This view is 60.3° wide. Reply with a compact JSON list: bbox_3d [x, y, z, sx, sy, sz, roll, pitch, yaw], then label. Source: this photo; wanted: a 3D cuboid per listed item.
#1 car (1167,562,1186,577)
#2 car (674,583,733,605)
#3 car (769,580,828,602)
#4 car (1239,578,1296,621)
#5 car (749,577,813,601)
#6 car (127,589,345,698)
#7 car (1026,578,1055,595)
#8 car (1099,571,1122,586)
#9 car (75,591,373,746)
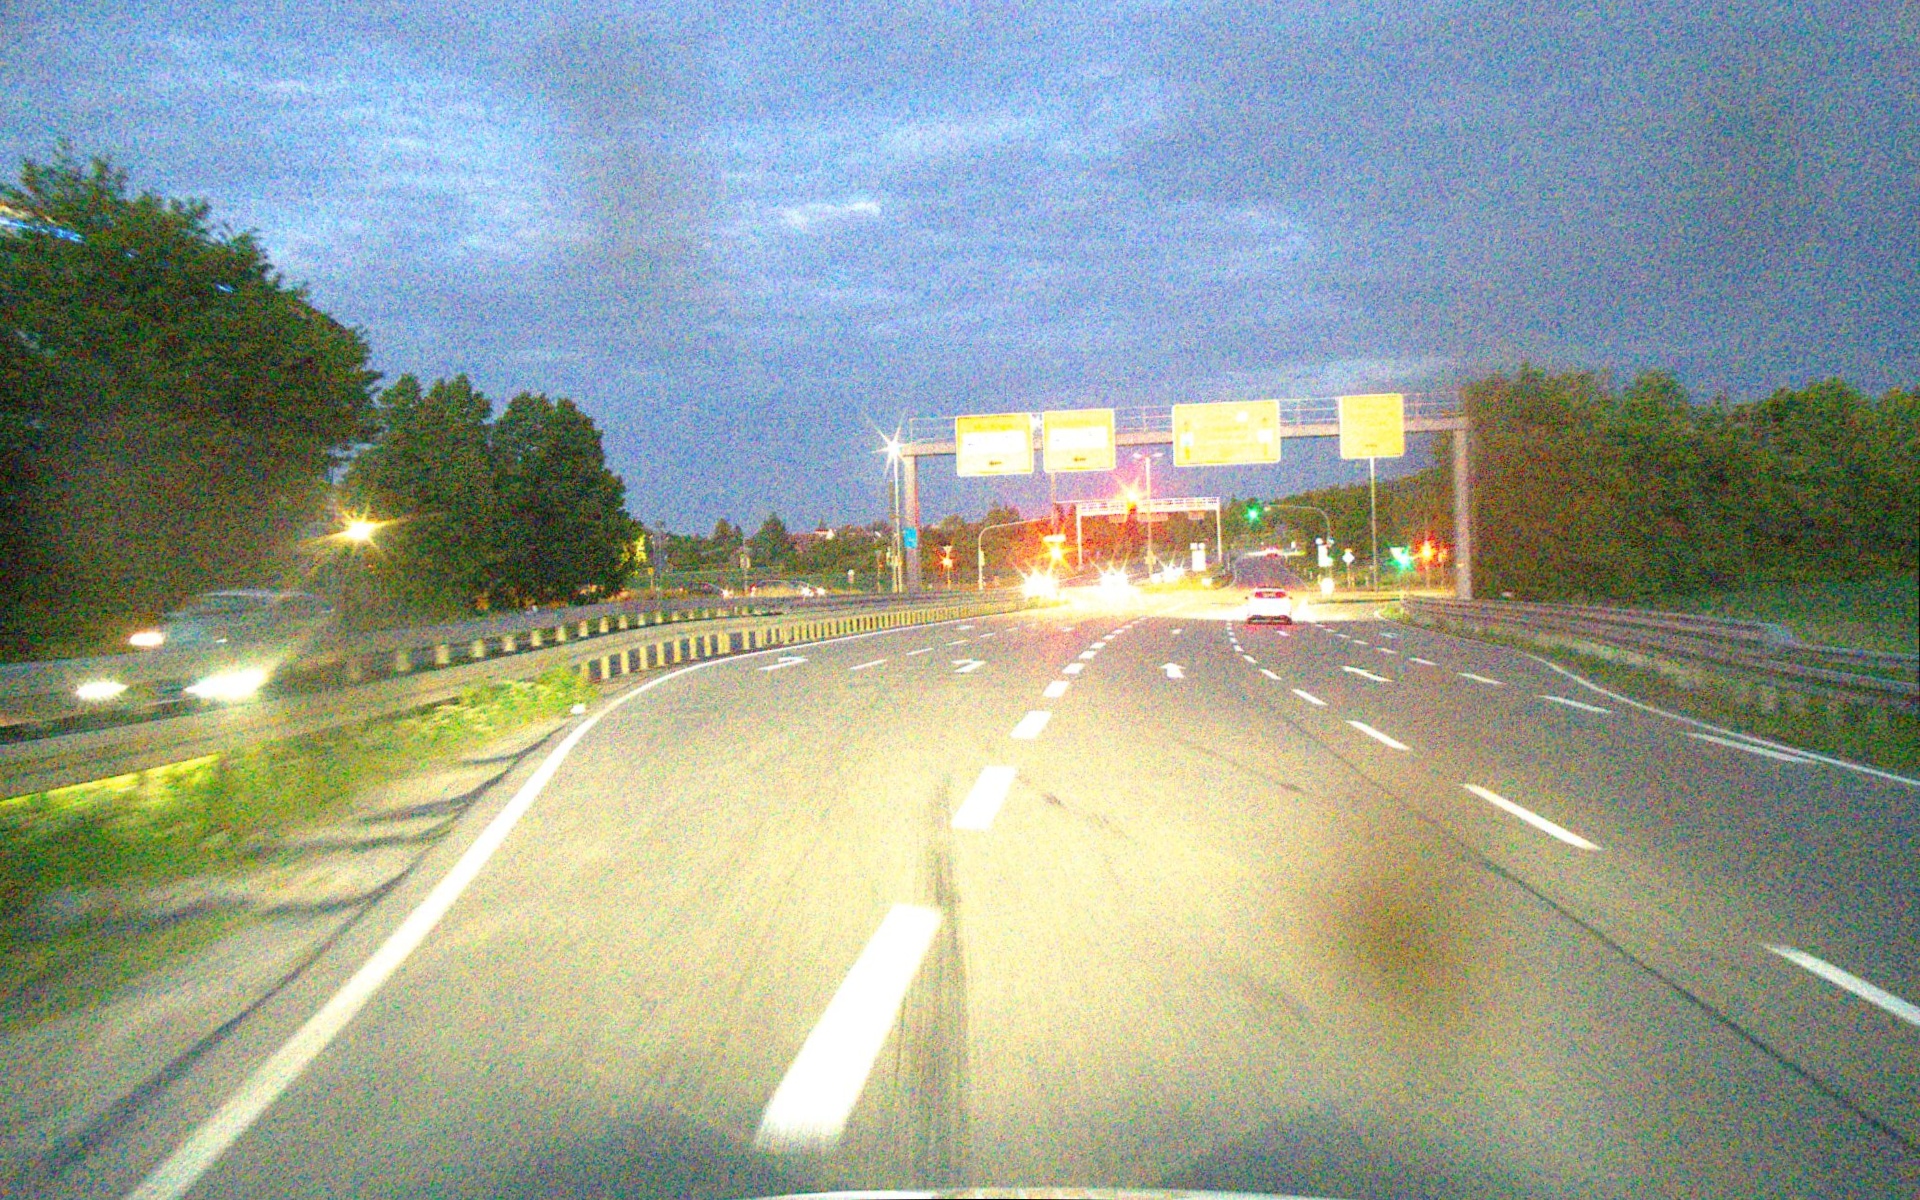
[{"bbox_3d":[25.997,-3.637,198.460,1.951,1.727,4.004,-1,1,11],"label":"car"},{"bbox_3d":[-18.579,-0.450,119.884,3.902,1.499,1.731,-1,0,6],"label":"car"},{"bbox_3d":[-11.928,-0.671,122.130,3.954,1.564,1.731,-1,0,9],"label":"car"},{"bbox_3d":[12.278,-0.038,65.946,1.965,1.639,3.848,1,0,14],"label":"car"},{"bbox_3d":[-12.757,-0.777,117.979,4.221,1.564,1.731,-1,0,11],"label":"car"},{"bbox_3d":[-11.976,0.655,27.680,1.666,1.651,4.308,-1,1,1],"label":"car"},{"bbox_3d":[7.163,-1.188,146.771,1.951,1.450,4.536,-1,1,11],"label":"car"},{"bbox_3d":[15.493,-2.245,169.987,1.951,1.507,4.686,-1,1,11],"label":"car"},{"bbox_3d":[-8.334,0.697,19.132,1.658,1.560,4.000,-1,1,0],"label":"car"}]
